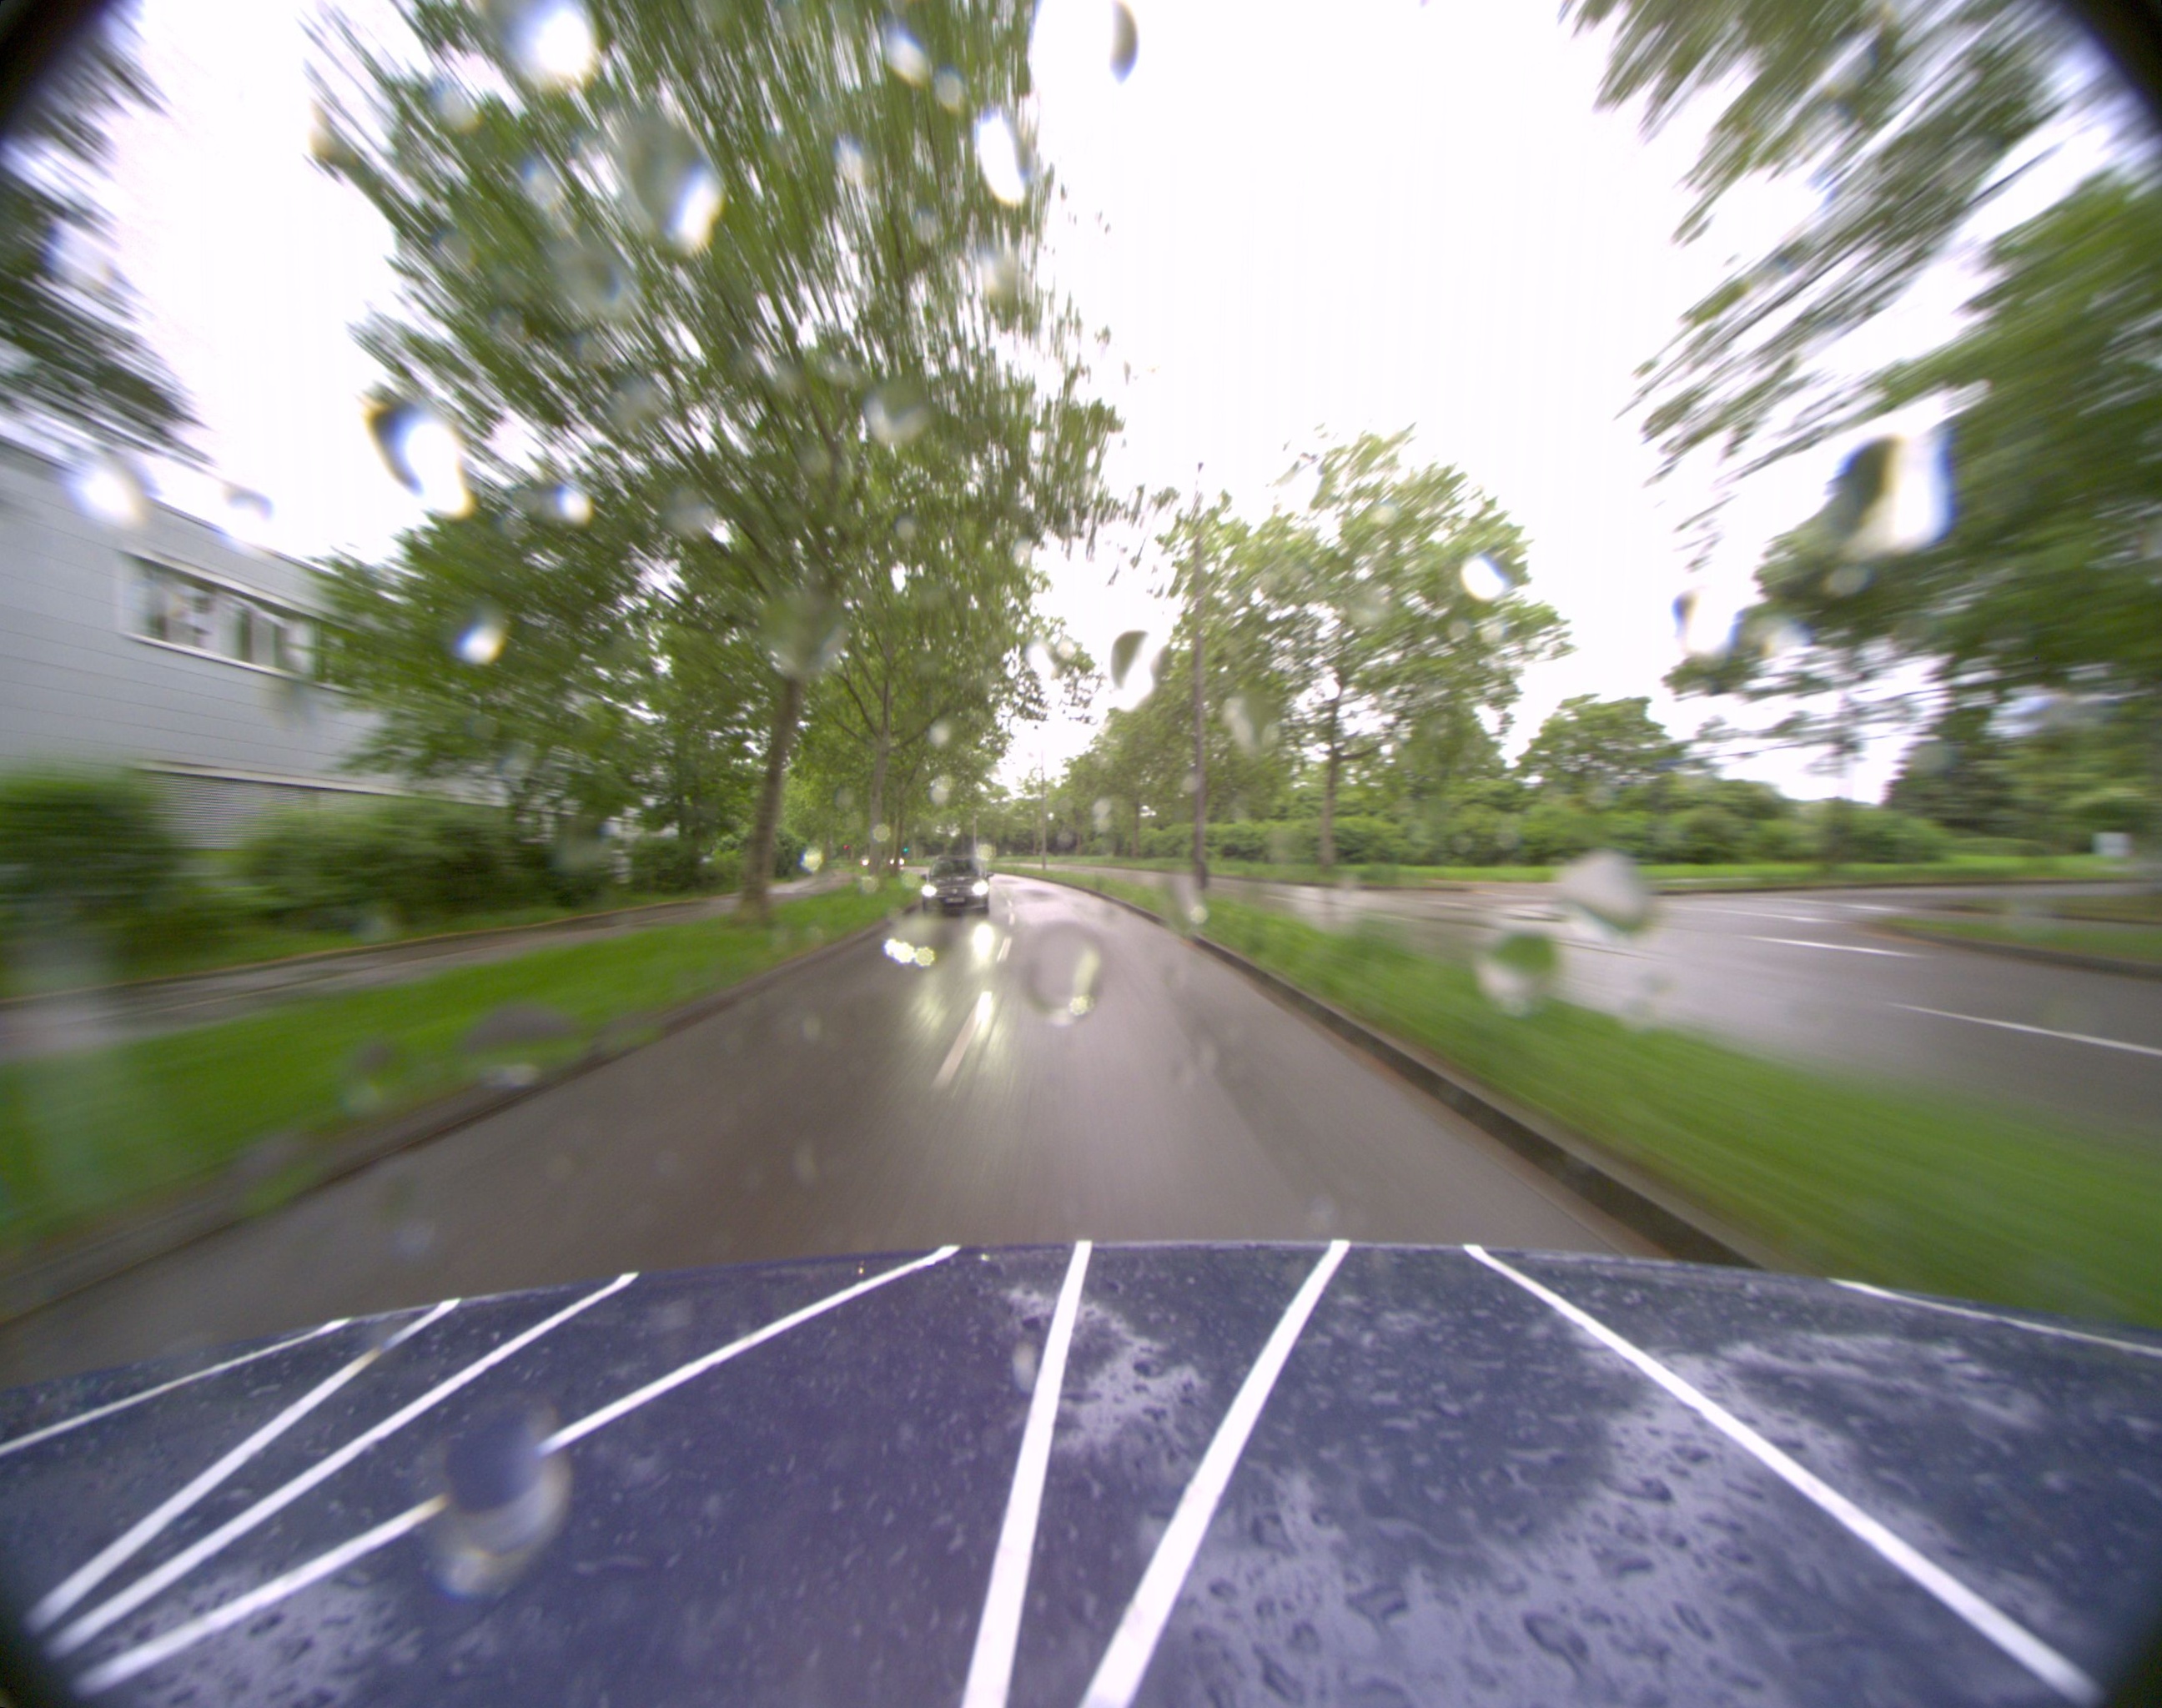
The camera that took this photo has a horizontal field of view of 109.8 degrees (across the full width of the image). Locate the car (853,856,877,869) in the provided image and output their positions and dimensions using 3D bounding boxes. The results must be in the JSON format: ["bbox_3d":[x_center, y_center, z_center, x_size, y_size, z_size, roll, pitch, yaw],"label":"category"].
[{"bbox_3d":[-26.684,1.082,93.734,1.788,1.546,3.991,-1,0,-31],"label":"car"}]

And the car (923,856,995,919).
[{"bbox_3d":[-3.448,0.889,22.053,1.785,1.546,3.997,-4,1,-7],"label":"car"}]

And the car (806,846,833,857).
[{"bbox_3d":[-59.397,-0.576,172.537,6.342,2.412,2.290,-1,0,33],"label":"car"}]

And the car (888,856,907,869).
[{"bbox_3d":[-23.242,1.041,96.268,1.787,1.546,3.993,-1,0,-20],"label":"car"}]
